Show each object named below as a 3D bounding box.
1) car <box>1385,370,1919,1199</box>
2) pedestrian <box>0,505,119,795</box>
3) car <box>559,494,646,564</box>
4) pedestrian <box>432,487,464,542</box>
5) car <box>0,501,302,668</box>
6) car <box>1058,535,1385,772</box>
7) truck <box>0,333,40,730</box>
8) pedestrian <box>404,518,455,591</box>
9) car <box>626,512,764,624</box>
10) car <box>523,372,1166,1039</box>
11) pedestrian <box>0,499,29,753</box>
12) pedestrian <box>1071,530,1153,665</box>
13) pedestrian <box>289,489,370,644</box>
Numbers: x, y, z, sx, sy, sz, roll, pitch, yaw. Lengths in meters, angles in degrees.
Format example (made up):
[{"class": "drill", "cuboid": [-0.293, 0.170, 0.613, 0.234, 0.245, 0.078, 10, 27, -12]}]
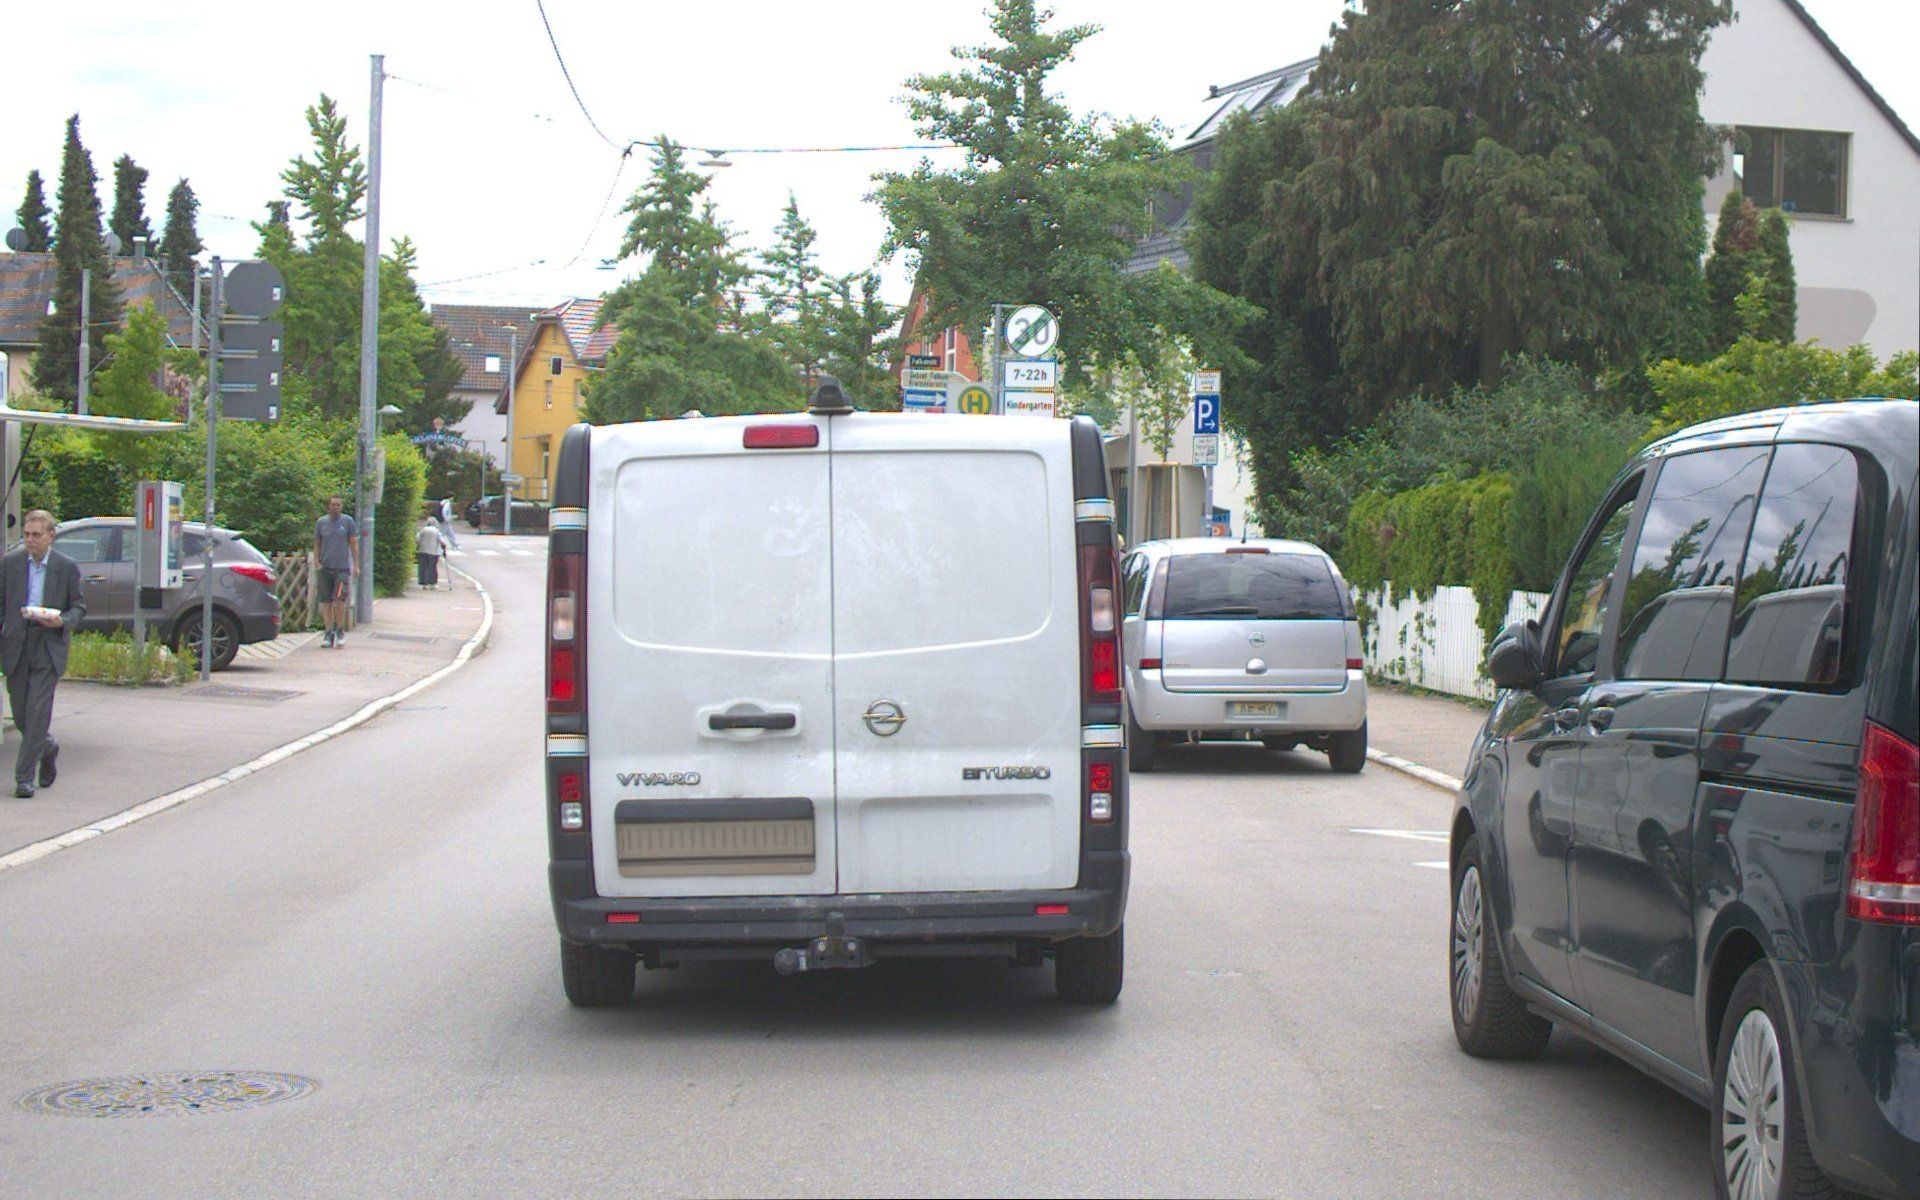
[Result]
[{"class": "car", "cuboid": [2.443, 0.501, 8.770, 1.909, 1.842, 5.158, 2, 1, -1]}, {"class": "pedestrian", "cuboid": [-5.618, 0.282, 20.775, 0.722, 1.681, 1.109, 3, 1, -1]}, {"class": "car", "cuboid": [-9.331, -1.855, 89.468, 1.993, 1.776, 4.001, 0, 1, -10]}, {"class": "pedestrian", "cuboid": [-15.360, -2.557, 103.191, 0.804, 1.604, 0.628, 3, 0, -14]}, {"class": "car", "cuboid": [-9.784, -0.214, 39.082, 4.310, 1.690, 1.798, 3, 1, -16]}, {"class": "car", "cuboid": [1.807, 0.323, 24.967, 1.759, 1.577, 4.019, 0, 1, -5]}, {"class": "truck", "cuboid": [-7.889, -0.476, 22.657, 2.472, 2.831, 6.709, 2, 1, -6]}, {"class": "pedestrian", "cuboid": [-11.138, -0.964, 72.200, 0.876, 1.480, 0.455, 3, 1, -29]}, {"class": "car", "cuboid": [-4.590, -0.570, 59.025, 1.993, 1.842, 4.001, 0, 1, -10]}, {"class": "car", "cuboid": [-0.502, 0.296, 12.571, 1.915, 1.996, 4.438, 1, 1, -4]}, {"class": "pedestrian", "cuboid": [-6.557, 0.159, 23.099, 0.401, 1.689, 0.597, 3, 0, -7]}, {"class": "pedestrian", "cuboid": [1.910, -0.036, 43.329, 0.854, 1.639, 0.884, 3, 0, -3]}, {"class": "pedestrian", "cuboid": [-8.154, -0.431, 44.508, 0.733, 1.939, 1.217, 3, 1, -1]}]
